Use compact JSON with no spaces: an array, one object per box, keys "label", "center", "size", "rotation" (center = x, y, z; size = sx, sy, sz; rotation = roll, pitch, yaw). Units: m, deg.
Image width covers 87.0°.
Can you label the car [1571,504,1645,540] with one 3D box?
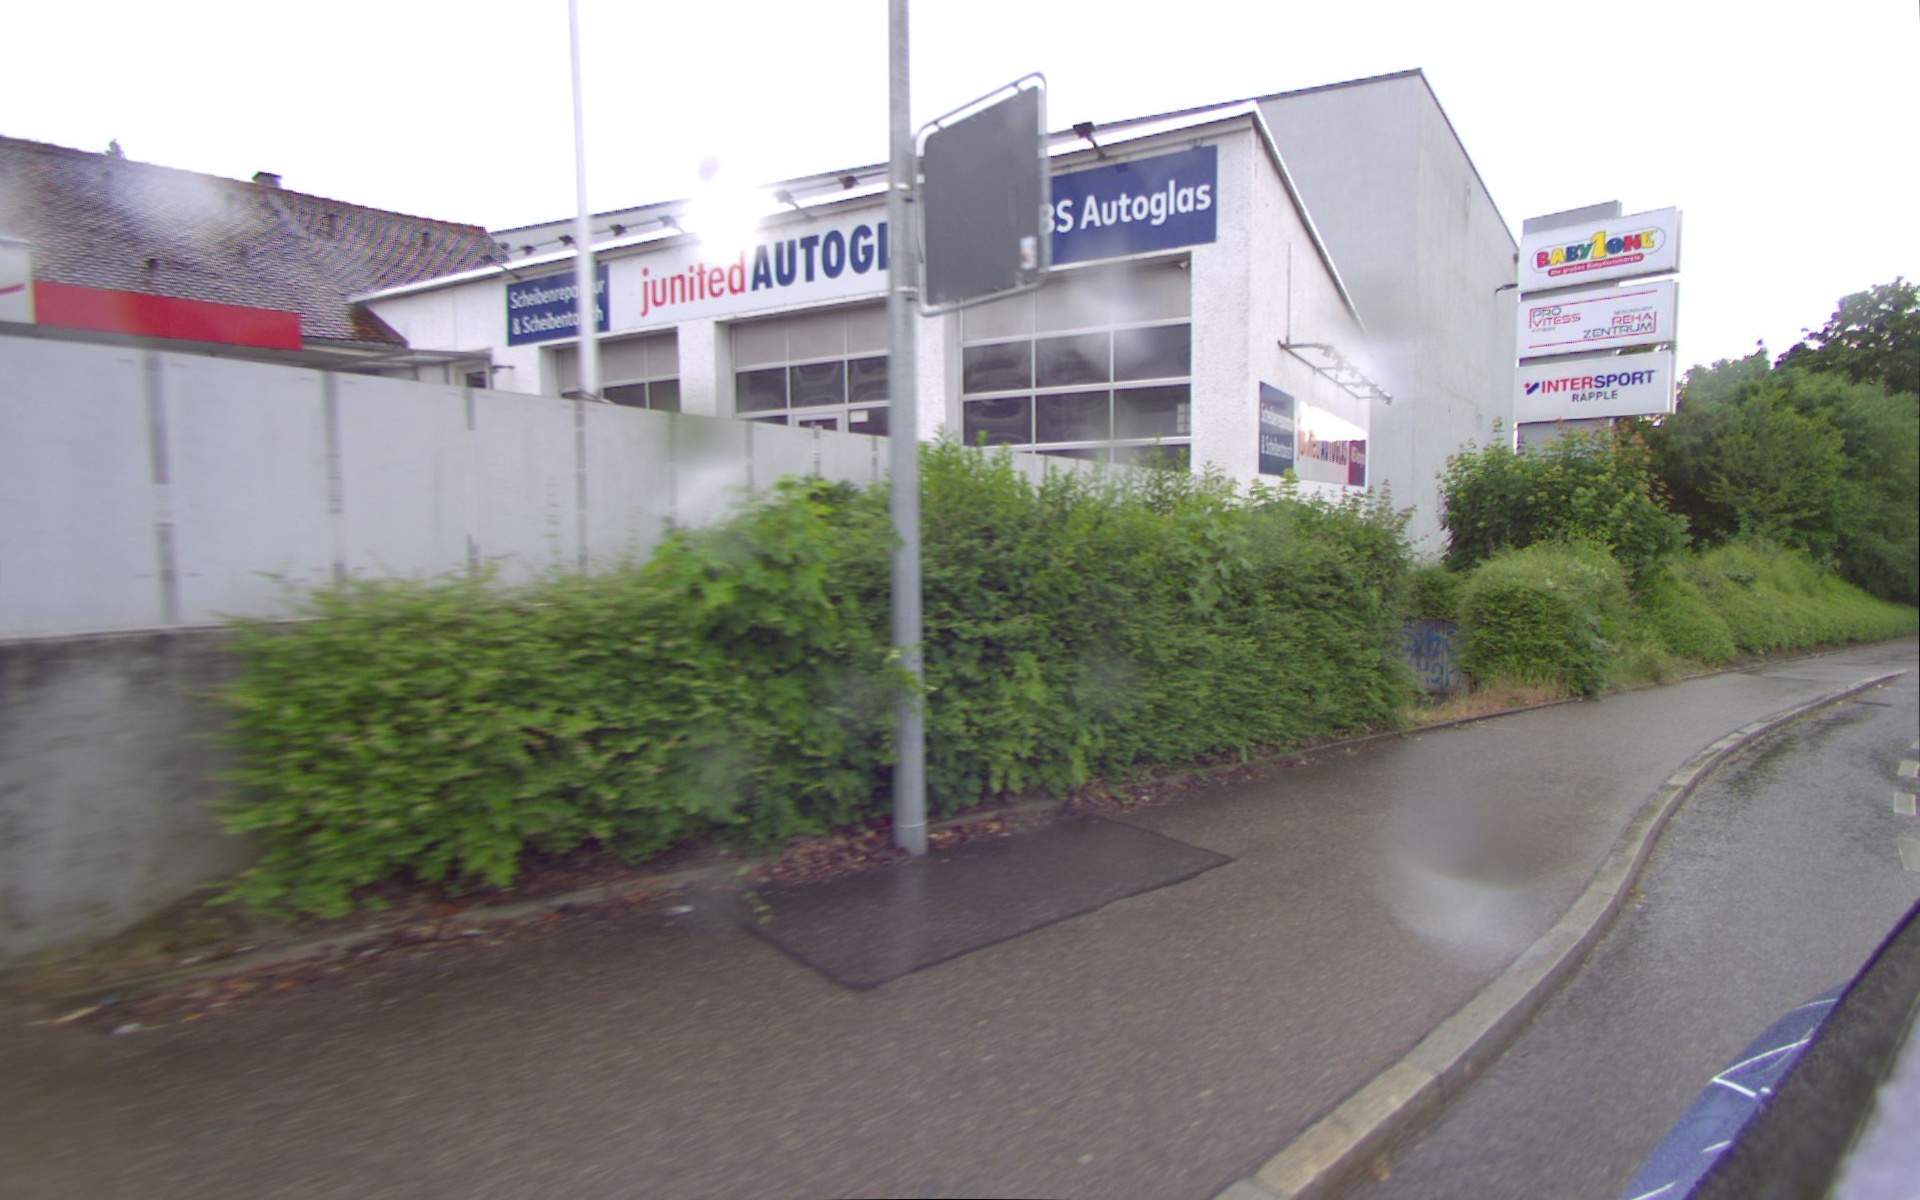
[{"label":"car","center":[32.118,-3.840,50.186],"size":[2.984,1.698,1.470],"rotation":[1,4,37]}]
